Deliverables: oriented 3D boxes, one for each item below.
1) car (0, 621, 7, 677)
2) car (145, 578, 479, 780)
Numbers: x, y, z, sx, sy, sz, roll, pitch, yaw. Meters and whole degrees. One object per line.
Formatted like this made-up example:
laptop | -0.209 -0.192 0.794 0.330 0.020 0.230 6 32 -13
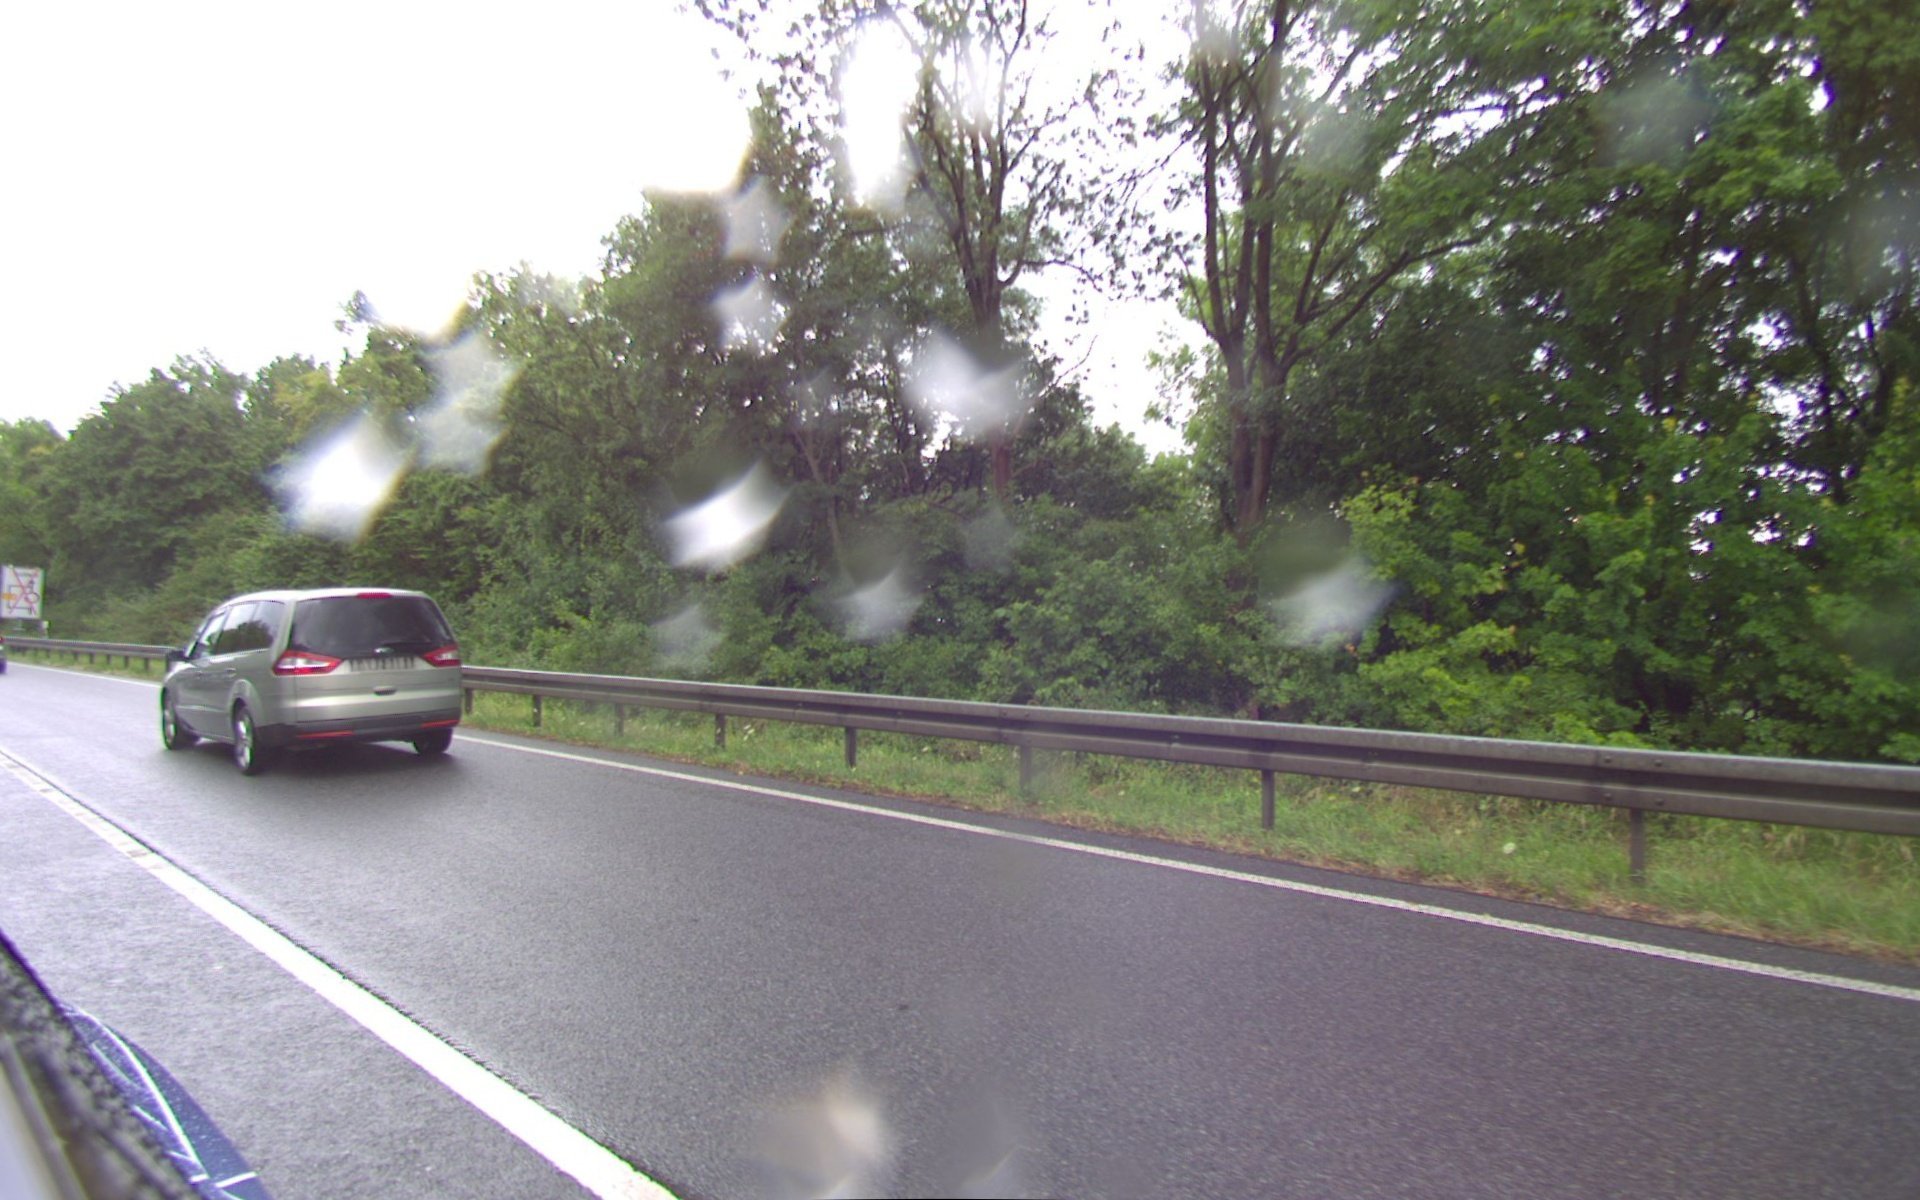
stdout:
car | -26.739 1.289 26.800 3.845 1.442 1.711 0 0 39
car | -7.001 0.669 10.714 4.621 1.699 1.796 0 0 42
